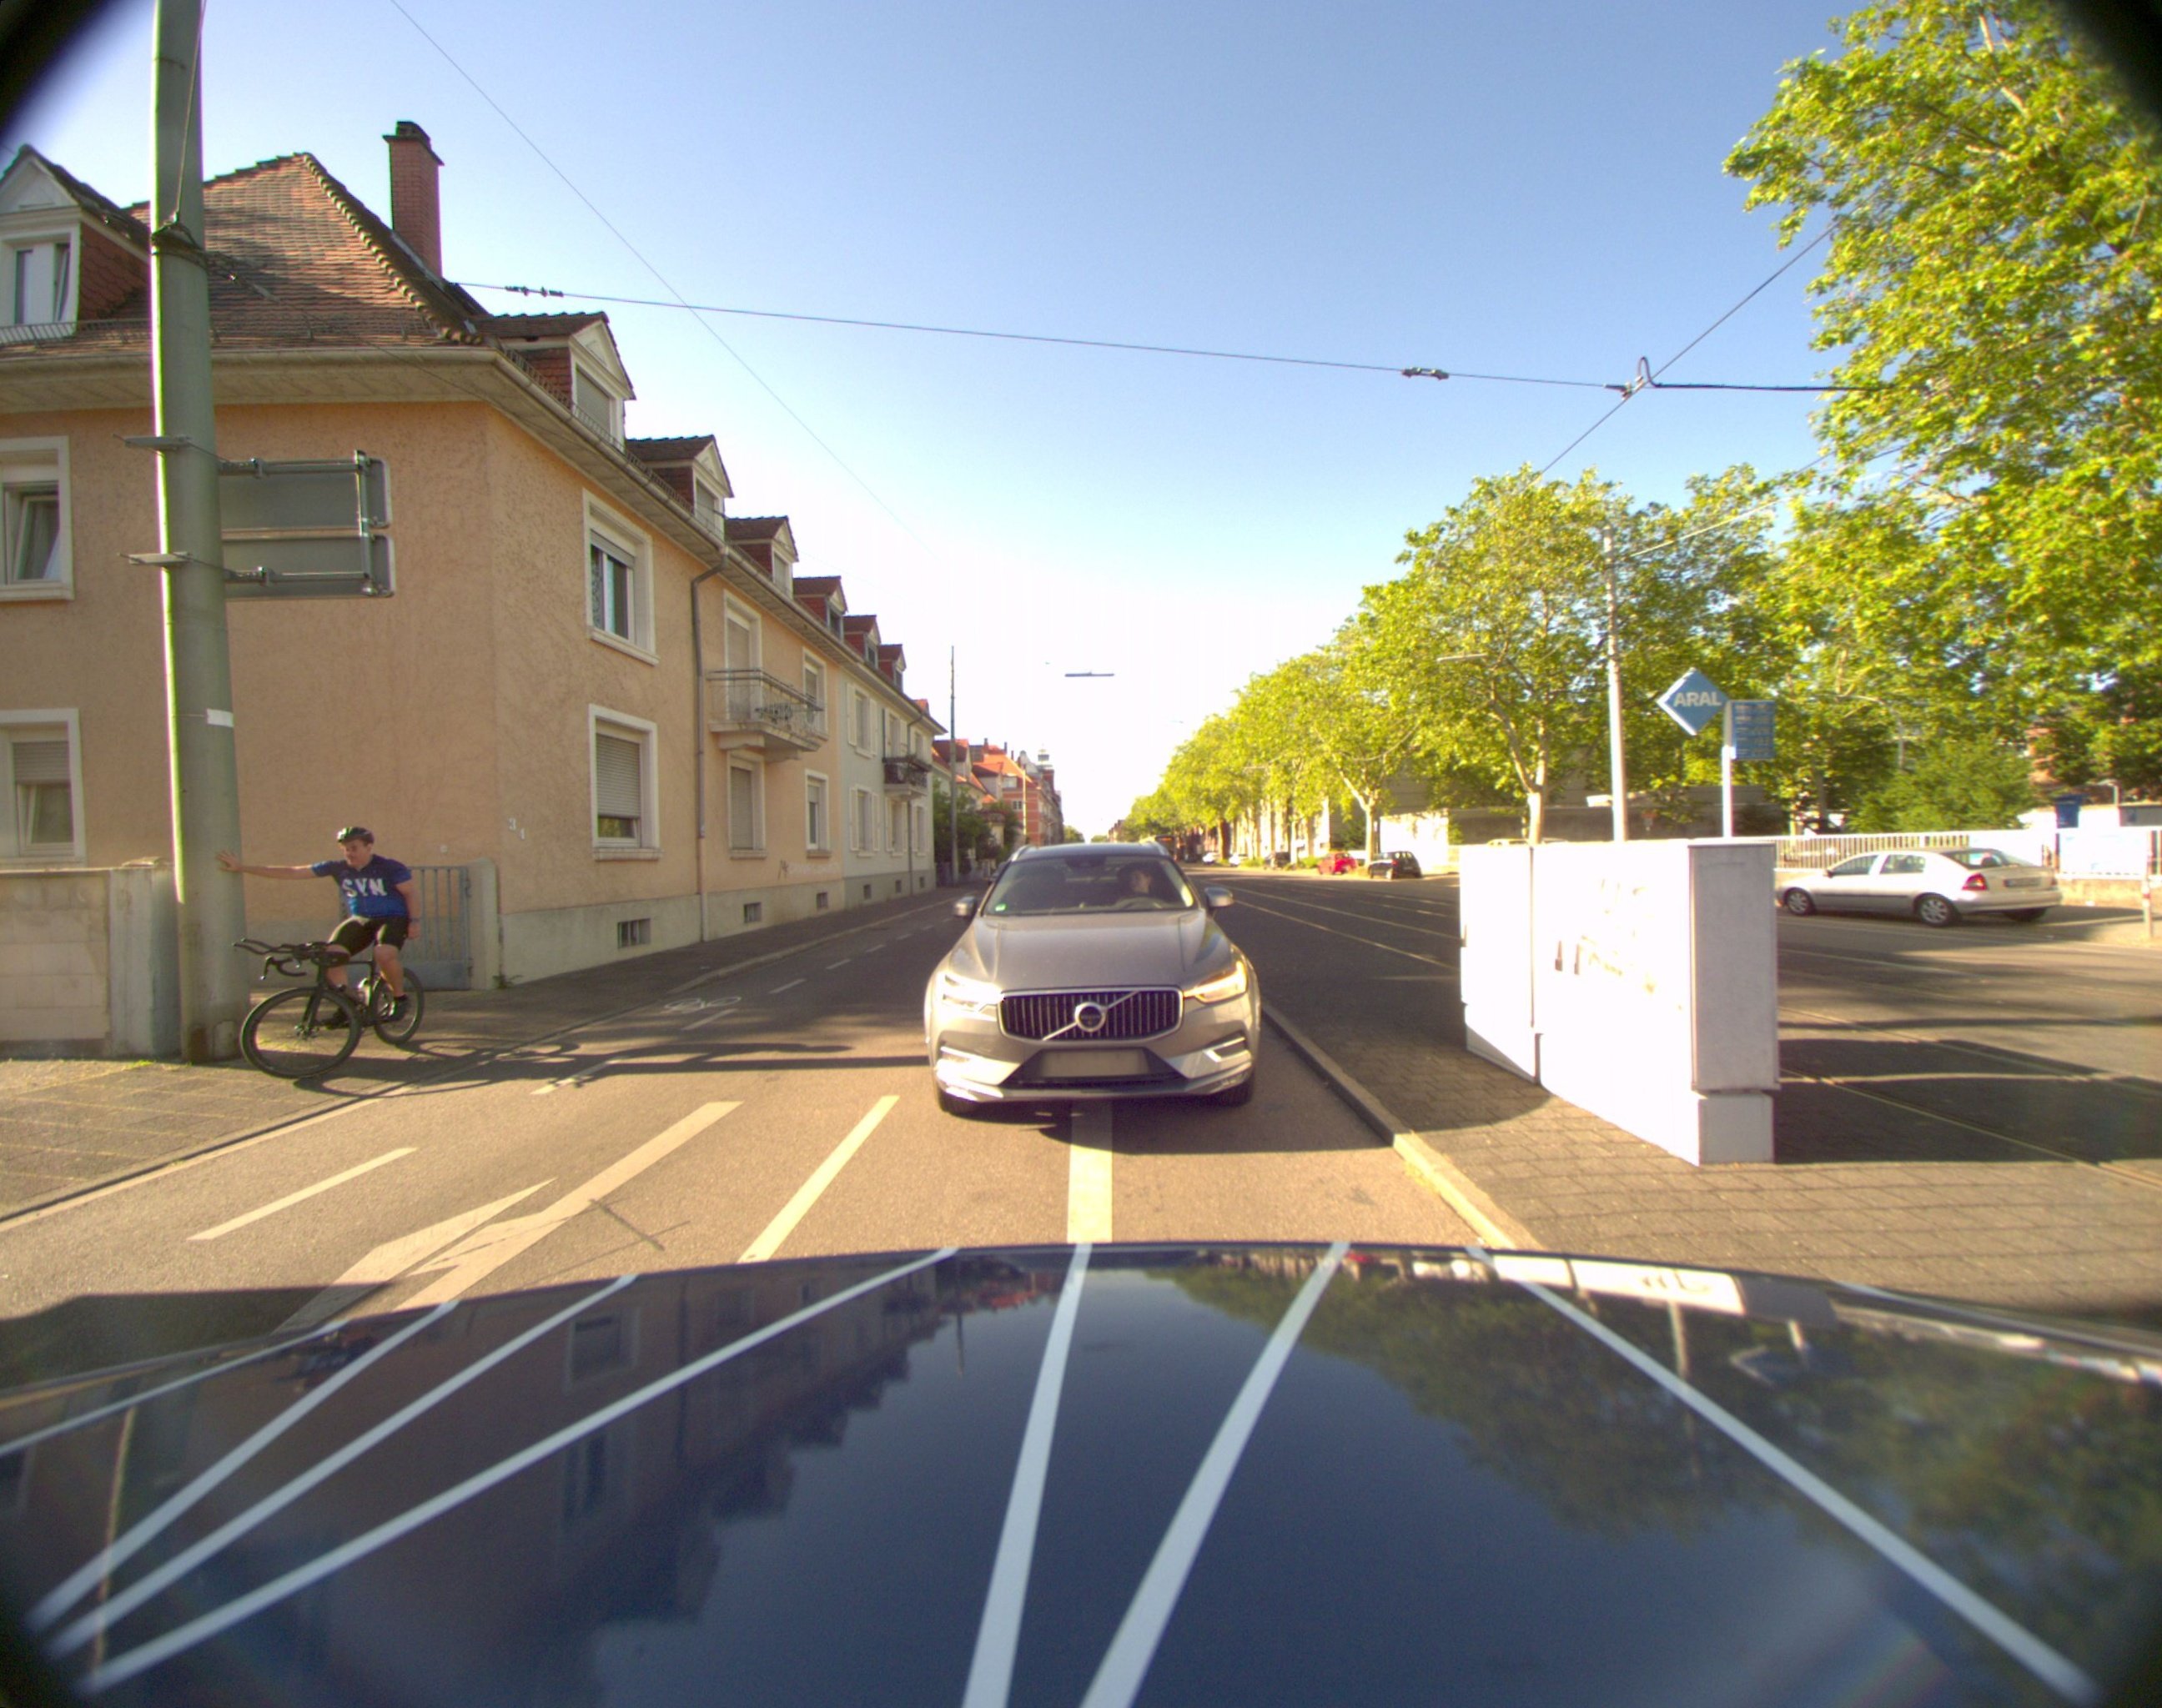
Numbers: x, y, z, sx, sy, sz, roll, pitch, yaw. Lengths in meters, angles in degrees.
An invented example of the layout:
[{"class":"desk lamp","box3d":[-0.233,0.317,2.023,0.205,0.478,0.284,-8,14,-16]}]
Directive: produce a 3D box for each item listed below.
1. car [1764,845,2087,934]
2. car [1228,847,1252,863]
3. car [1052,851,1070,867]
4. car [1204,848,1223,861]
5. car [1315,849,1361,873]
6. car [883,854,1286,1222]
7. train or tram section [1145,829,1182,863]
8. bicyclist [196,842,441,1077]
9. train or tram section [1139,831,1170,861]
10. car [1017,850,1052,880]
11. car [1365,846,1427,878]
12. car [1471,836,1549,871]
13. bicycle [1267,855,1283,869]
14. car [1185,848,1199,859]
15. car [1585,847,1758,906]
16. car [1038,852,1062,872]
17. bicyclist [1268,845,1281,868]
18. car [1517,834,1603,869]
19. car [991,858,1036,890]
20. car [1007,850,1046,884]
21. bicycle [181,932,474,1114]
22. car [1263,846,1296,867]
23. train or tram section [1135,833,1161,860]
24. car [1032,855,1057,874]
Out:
[{"class":"car","box3d":[16.234,0.607,14.980,1.846,1.400,3.999,-4,0,-1]},{"class":"car","box3d":[17.487,0.102,83.547,1.845,1.664,4.098,-4,0,3]},{"class":"car","box3d":[-2.246,0.536,85.486,1.999,1.641,4.658,-1,0,-1]},{"class":"car","box3d":[17.592,0.059,100.909,1.845,1.664,4.098,-4,0,3]},{"class":"car","box3d":[16.960,0.433,50.314,1.845,1.400,4.000,-4,0,3]},{"class":"car","box3d":[0.000,0.880,5.790,1.892,1.695,4.318,-1,0,-1]},{"class":"train or tram section","box3d":[9.124,-0.927,85.426,2.862,3.456,10.181,-2,1,0]},{"class":"bicyclist","box3d":[-6.174,0.803,6.217,1.071,1.728,0.853,4,1,1]},{"class":"train or tram section","box3d":[9.144,-1.044,95.594,2.843,3.456,10.181,-2,1,0]},{"class":"car","box3d":[-2.799,0.643,46.753,1.847,1.681,4.000,-1,0,0]},{"class":"car","box3d":[16.965,0.396,41.090,1.845,1.524,4.001,-4,0,4]},{"class":"car","box3d":[21.748,-0.039,38.718,1.845,1.524,4.001,-4,0,4]},{"class":"bicycle","box3d":[15.713,0.655,61.588,0.654,1.114,2.532,-1,0,-1]},{"class":"car","box3d":[18.365,-0.026,125.413,1.845,1.664,4.098,-4,0,3]},{"class":"car","box3d":[16.516,0.557,21.553,1.845,1.400,4.138,-4,0,4]},{"class":"car","box3d":[-2.677,0.681,65.772,1.847,1.681,4.000,-1,0,0]},{"class":"bicyclist","box3d":[15.696,0.220,61.631,0.720,1.853,1.071,-1,1,-1]},{"class":"car","box3d":[24.041,-0.123,38.340,1.845,1.524,4.000,-4,0,2]},{"class":"car","box3d":[-3.231,0.935,36.979,1.847,1.412,3.999,-1,0,-1]},{"class":"car","box3d":[-2.966,0.675,42.275,1.847,1.742,4.144,-1,0,0]},{"class":"bicycle","box3d":[-5.929,1.268,6.143,0.594,1.045,1.719,4,1,1]},{"class":"car","box3d":[17.166,0.210,65.899,1.845,1.607,4.098,-4,0,3]},{"class":"train or tram section","box3d":[9.252,-1.105,105.806,2.843,3.456,10.182,-2,1,1]},{"class":"car","box3d":[-2.881,0.847,60.409,1.808,1.402,3.999,-1,0,-1]}]
